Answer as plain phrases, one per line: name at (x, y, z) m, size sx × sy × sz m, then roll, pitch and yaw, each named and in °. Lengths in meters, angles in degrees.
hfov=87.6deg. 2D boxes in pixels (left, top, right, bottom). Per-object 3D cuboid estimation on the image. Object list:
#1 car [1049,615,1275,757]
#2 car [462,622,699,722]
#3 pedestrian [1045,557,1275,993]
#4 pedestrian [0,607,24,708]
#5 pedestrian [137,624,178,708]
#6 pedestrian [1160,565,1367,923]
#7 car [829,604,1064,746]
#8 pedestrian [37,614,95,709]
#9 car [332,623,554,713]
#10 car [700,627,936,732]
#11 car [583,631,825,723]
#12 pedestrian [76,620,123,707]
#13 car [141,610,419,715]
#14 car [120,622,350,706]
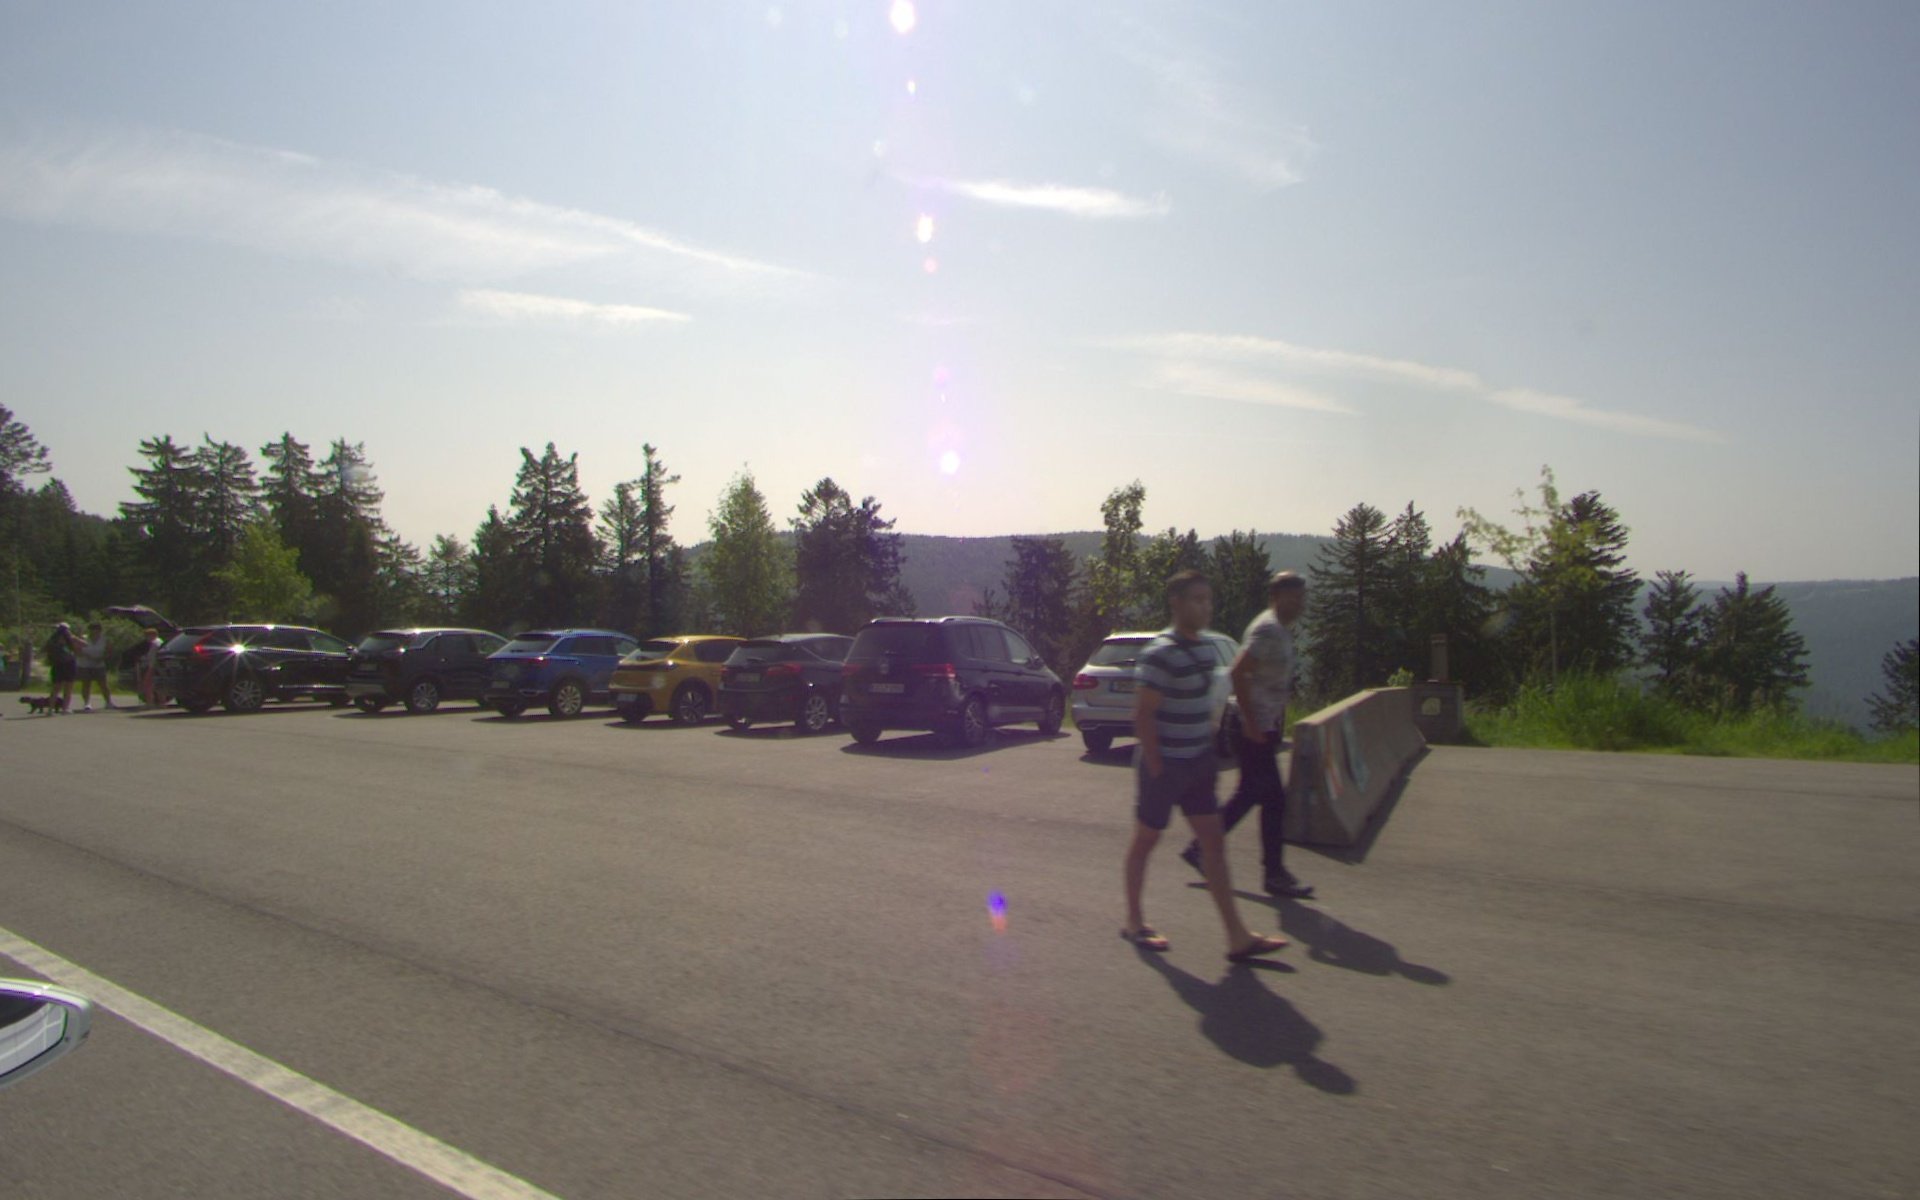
car at (2.723, 1.007, 12.740) m, size 1.746 × 1.495 × 3.986 m, roll 0°, pitch -3°, yaw 28°
car at (-7.011, 1.250, 18.905) m, size 1.778 × 1.556 × 3.985 m, roll 3°, pitch 1°, yaw 27°
pedestrian at (0.923, 0.720, 4.624) m, size 0.767 × 1.784 × 0.749 m, roll 0°, pitch 1°, yaw 45°
pedestrian at (-17.424, 1.032, 18.112) m, size 0.715 × 1.798 × 0.614 m, roll 0°, pitch 0°, yaw 38°
pedestrian at (-15.925, 1.291, 19.872) m, size 0.612 × 1.609 × 0.729 m, roll -1°, pitch 2°, yaw -39°
pedestrian at (1.650, 0.714, 5.478) m, size 0.885 × 1.764 × 0.661 m, roll 0°, pitch 1°, yaw 45°
car at (-0.019, 0.985, 13.925) m, size 1.575 × 1.667 × 3.987 m, roll -1°, pitch -3°, yaw 27°
pedestrian at (-16.618, 1.120, 18.609) m, size 0.611 × 1.714 × 0.713 m, roll 0°, pitch 0°, yaw 38°
car at (-10.127, 1.266, 19.906) m, size 1.574 × 1.587 × 3.752 m, roll 0°, pitch -1°, yaw 25°
car at (-2.127, 1.243, 16.149) m, size 1.736 × 1.454 × 3.997 m, roll -1°, pitch -4°, yaw 28°
car at (-4.343, 1.244, 17.580) m, size 1.957 × 1.370 × 3.983 m, roll -1°, pitch -1°, yaw 29°
pedestrian at (-17.451, 1.269, 20.307) m, size 0.680 × 1.683 × 0.648 m, roll 2°, pitch 2°, yaw 44°
car at (-13.532, 1.154, 20.205) m, size 1.862 × 1.817 × 4.261 m, roll 2°, pitch 0°, yaw 28°
car at (-15.964, 1.385, 22.257) m, size 1.626 × 1.681 × 3.818 m, roll -1°, pitch -3°, yaw 26°
